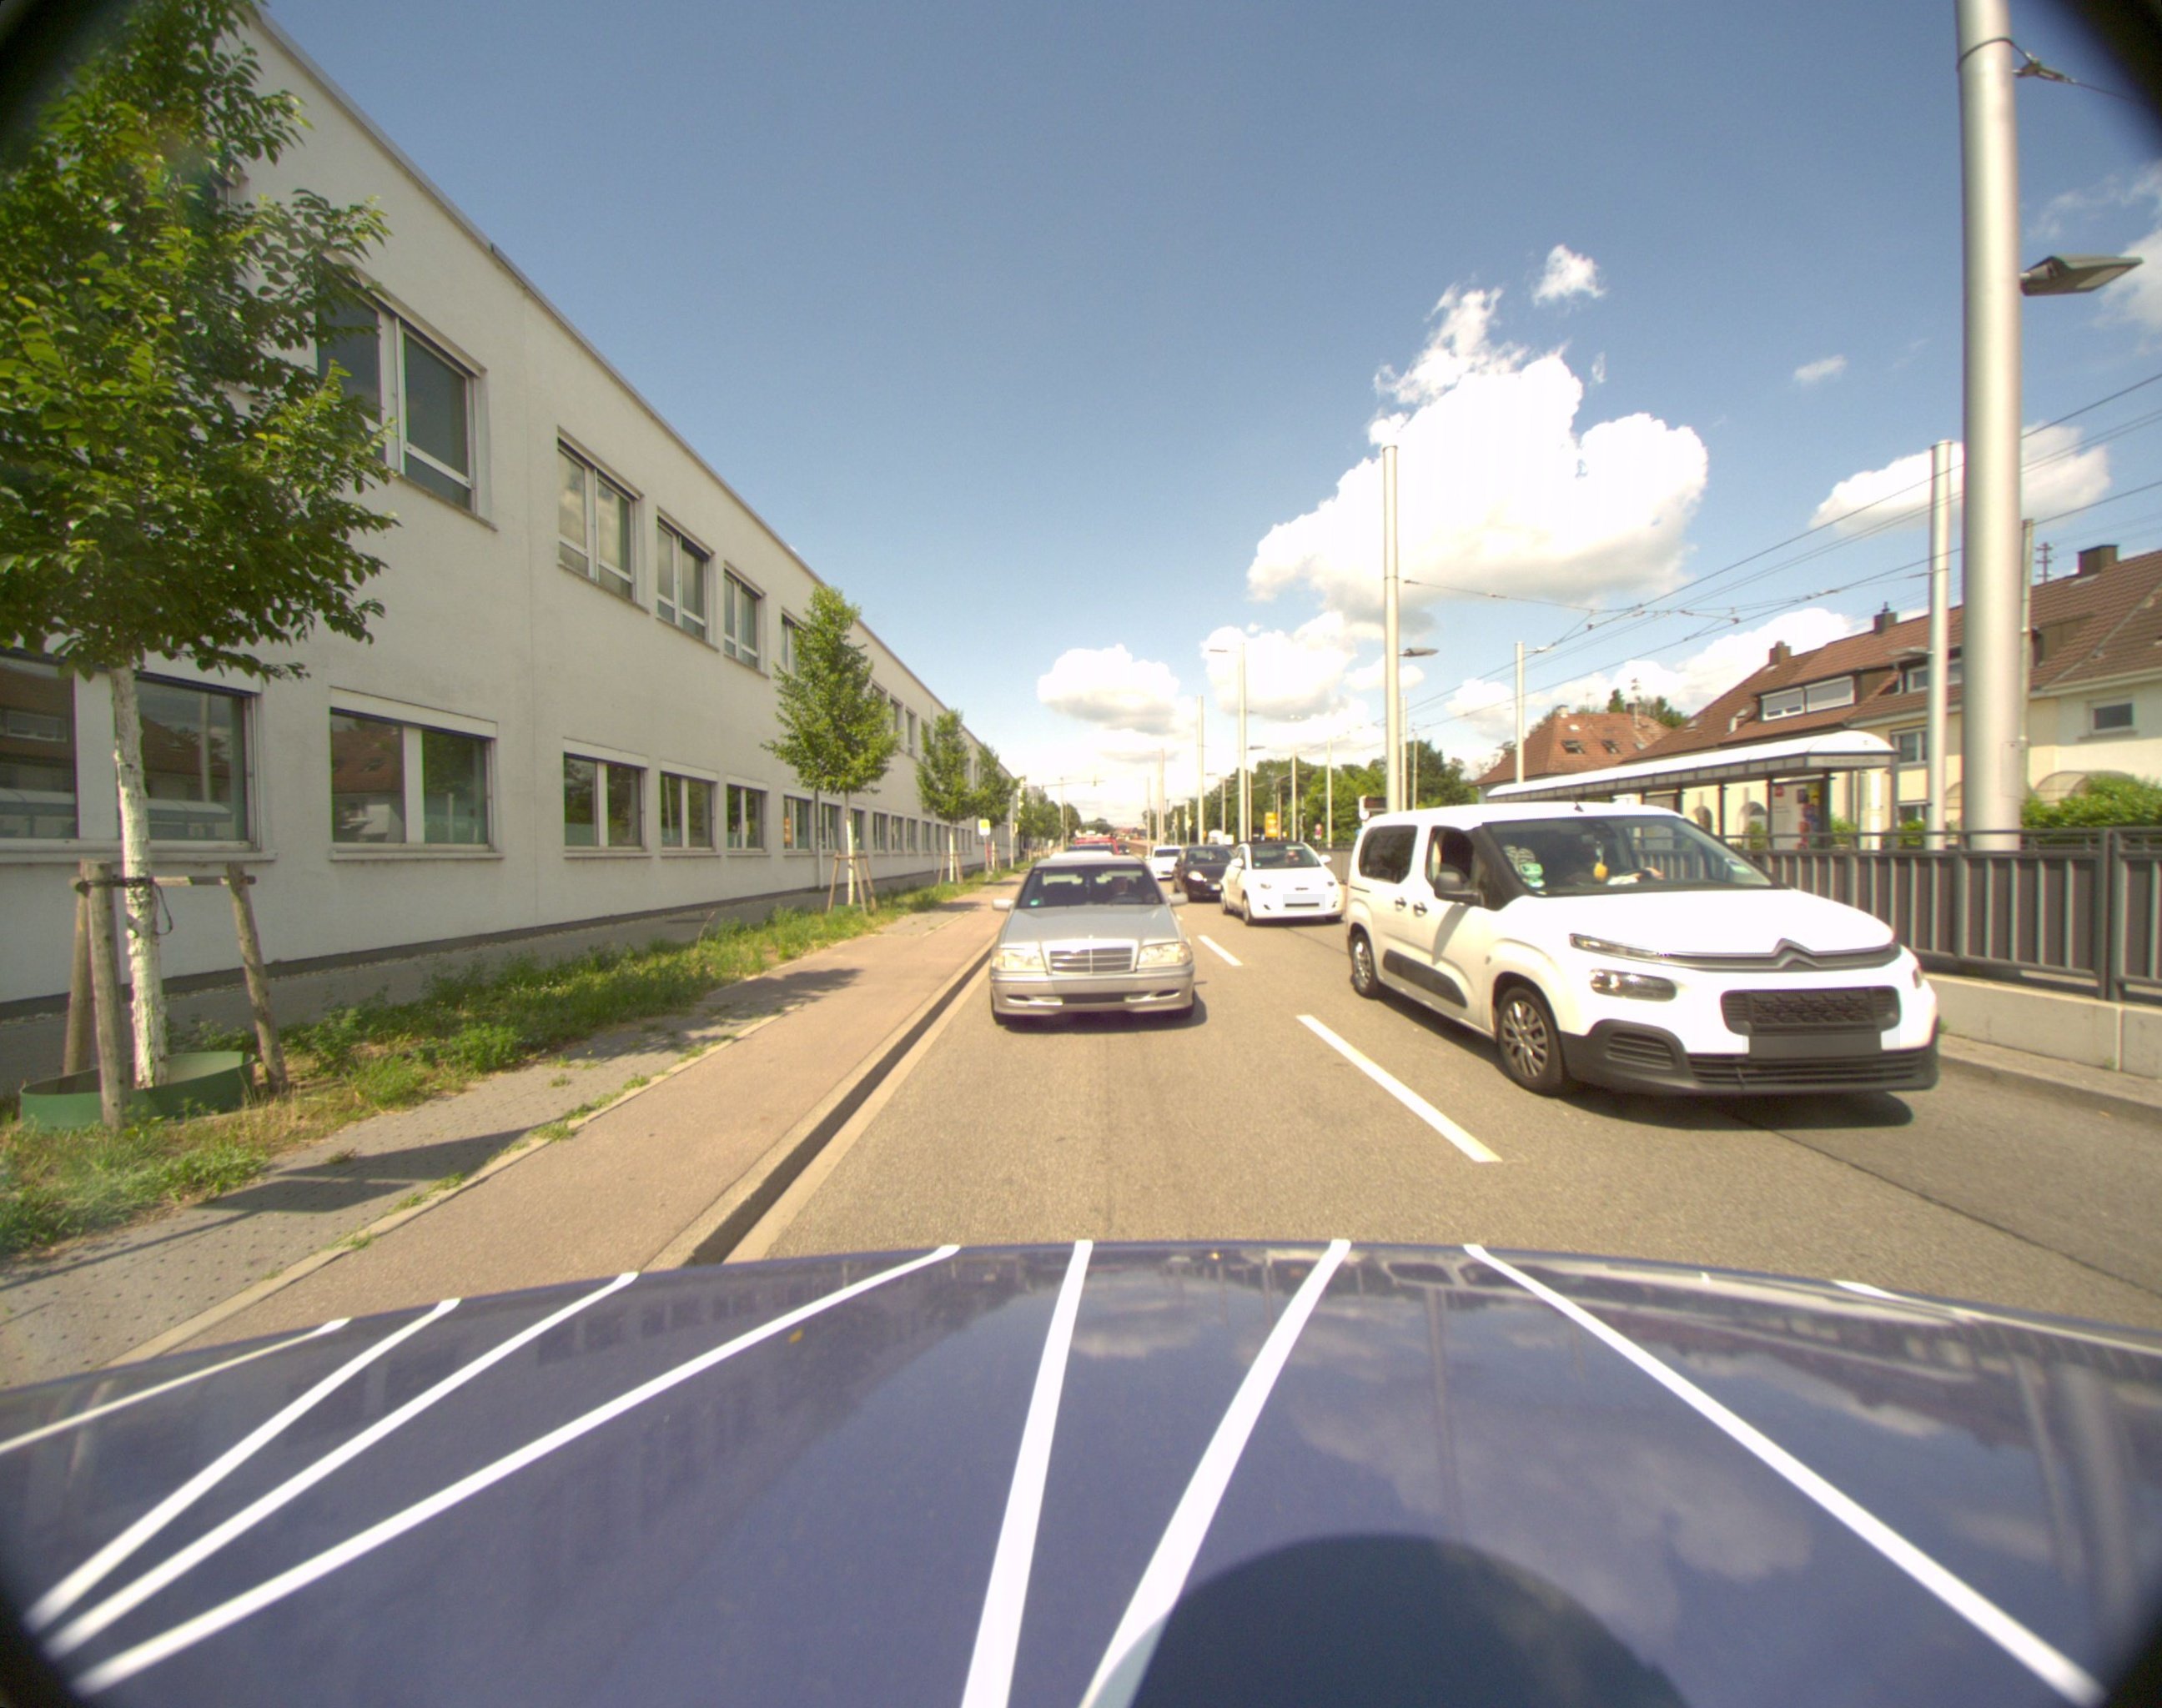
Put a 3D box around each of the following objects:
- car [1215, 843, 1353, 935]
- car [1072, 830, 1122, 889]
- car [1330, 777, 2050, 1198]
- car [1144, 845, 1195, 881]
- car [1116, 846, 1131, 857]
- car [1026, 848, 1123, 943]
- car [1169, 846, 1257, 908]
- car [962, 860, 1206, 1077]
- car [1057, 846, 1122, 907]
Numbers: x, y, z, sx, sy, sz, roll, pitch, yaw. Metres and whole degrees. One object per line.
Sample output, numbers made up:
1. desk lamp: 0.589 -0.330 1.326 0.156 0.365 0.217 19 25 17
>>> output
1. car: 3.740 0.577 14.570 1.680 1.495 3.393 -2 1 0
2. car: 0.646 0.141 30.724 1.787 2.135 5.168 -2 1 1
3. car: 3.399 0.551 5.512 1.799 1.805 4.329 -2 1 1
4. car: 3.767 0.353 32.972 1.698 1.350 4.498 -2 1 1
5. car: 5.519 -0.337 98.583 1.698 1.350 4.498 -2 1 1
6. car: -0.075 0.733 15.591 1.664 1.564 3.999 -2 1 1
7. car: 3.466 0.549 20.524 1.680 1.414 3.557 -2 1 0
8. car: 0.066 0.861 7.781 1.725 1.390 4.462 -2 1 1
9. car: 0.273 0.579 22.172 1.664 1.530 3.999 -2 1 1
